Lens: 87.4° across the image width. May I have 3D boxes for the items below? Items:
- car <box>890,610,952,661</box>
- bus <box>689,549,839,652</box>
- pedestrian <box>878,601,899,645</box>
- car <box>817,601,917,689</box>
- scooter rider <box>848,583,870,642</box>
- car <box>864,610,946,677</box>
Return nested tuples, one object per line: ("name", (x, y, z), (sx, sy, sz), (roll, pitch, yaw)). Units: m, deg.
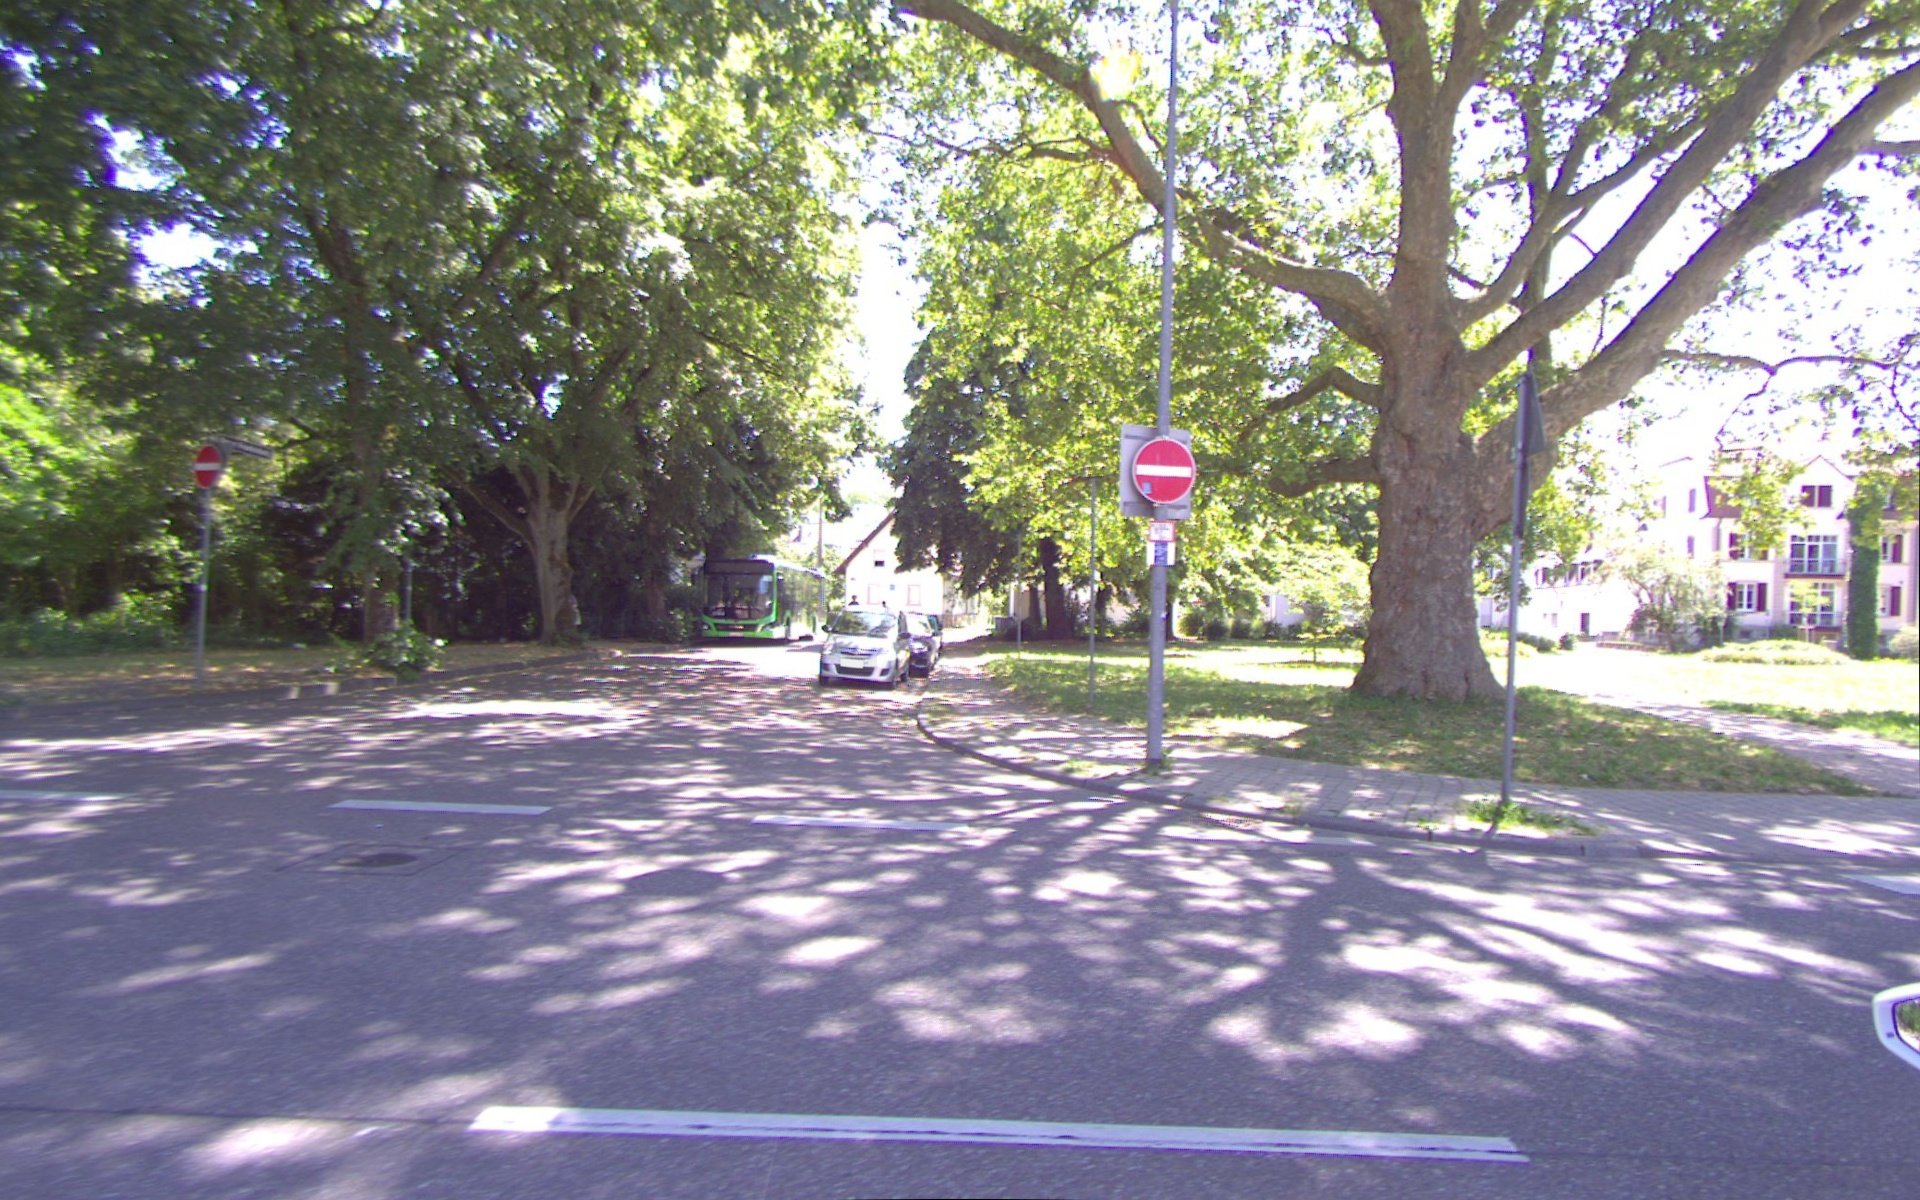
("car", (-1.175, 1.072, 31.981), (1.721, 1.458, 4.770), (1, -1, 0))
("bus", (-7.433, 0.120, 41.209), (2.820, 3.338, 15.953), (1, -1, 1))
("pedestrian", (-3.031, 0.986, 42.827), (0.707, 1.826, 0.941), (1, 0, 6))
("car", (-1.759, 0.826, 19.958), (1.568, 1.517, 3.486), (3, 0, 0))
("scooter rider", (-4.059, 0.498, 40.271), (0.726, 2.348, 0.927), (1, 0, 1))
("car", (-1.300, 1.030, 25.349), (1.721, 1.458, 4.503), (3, 0, 0))
